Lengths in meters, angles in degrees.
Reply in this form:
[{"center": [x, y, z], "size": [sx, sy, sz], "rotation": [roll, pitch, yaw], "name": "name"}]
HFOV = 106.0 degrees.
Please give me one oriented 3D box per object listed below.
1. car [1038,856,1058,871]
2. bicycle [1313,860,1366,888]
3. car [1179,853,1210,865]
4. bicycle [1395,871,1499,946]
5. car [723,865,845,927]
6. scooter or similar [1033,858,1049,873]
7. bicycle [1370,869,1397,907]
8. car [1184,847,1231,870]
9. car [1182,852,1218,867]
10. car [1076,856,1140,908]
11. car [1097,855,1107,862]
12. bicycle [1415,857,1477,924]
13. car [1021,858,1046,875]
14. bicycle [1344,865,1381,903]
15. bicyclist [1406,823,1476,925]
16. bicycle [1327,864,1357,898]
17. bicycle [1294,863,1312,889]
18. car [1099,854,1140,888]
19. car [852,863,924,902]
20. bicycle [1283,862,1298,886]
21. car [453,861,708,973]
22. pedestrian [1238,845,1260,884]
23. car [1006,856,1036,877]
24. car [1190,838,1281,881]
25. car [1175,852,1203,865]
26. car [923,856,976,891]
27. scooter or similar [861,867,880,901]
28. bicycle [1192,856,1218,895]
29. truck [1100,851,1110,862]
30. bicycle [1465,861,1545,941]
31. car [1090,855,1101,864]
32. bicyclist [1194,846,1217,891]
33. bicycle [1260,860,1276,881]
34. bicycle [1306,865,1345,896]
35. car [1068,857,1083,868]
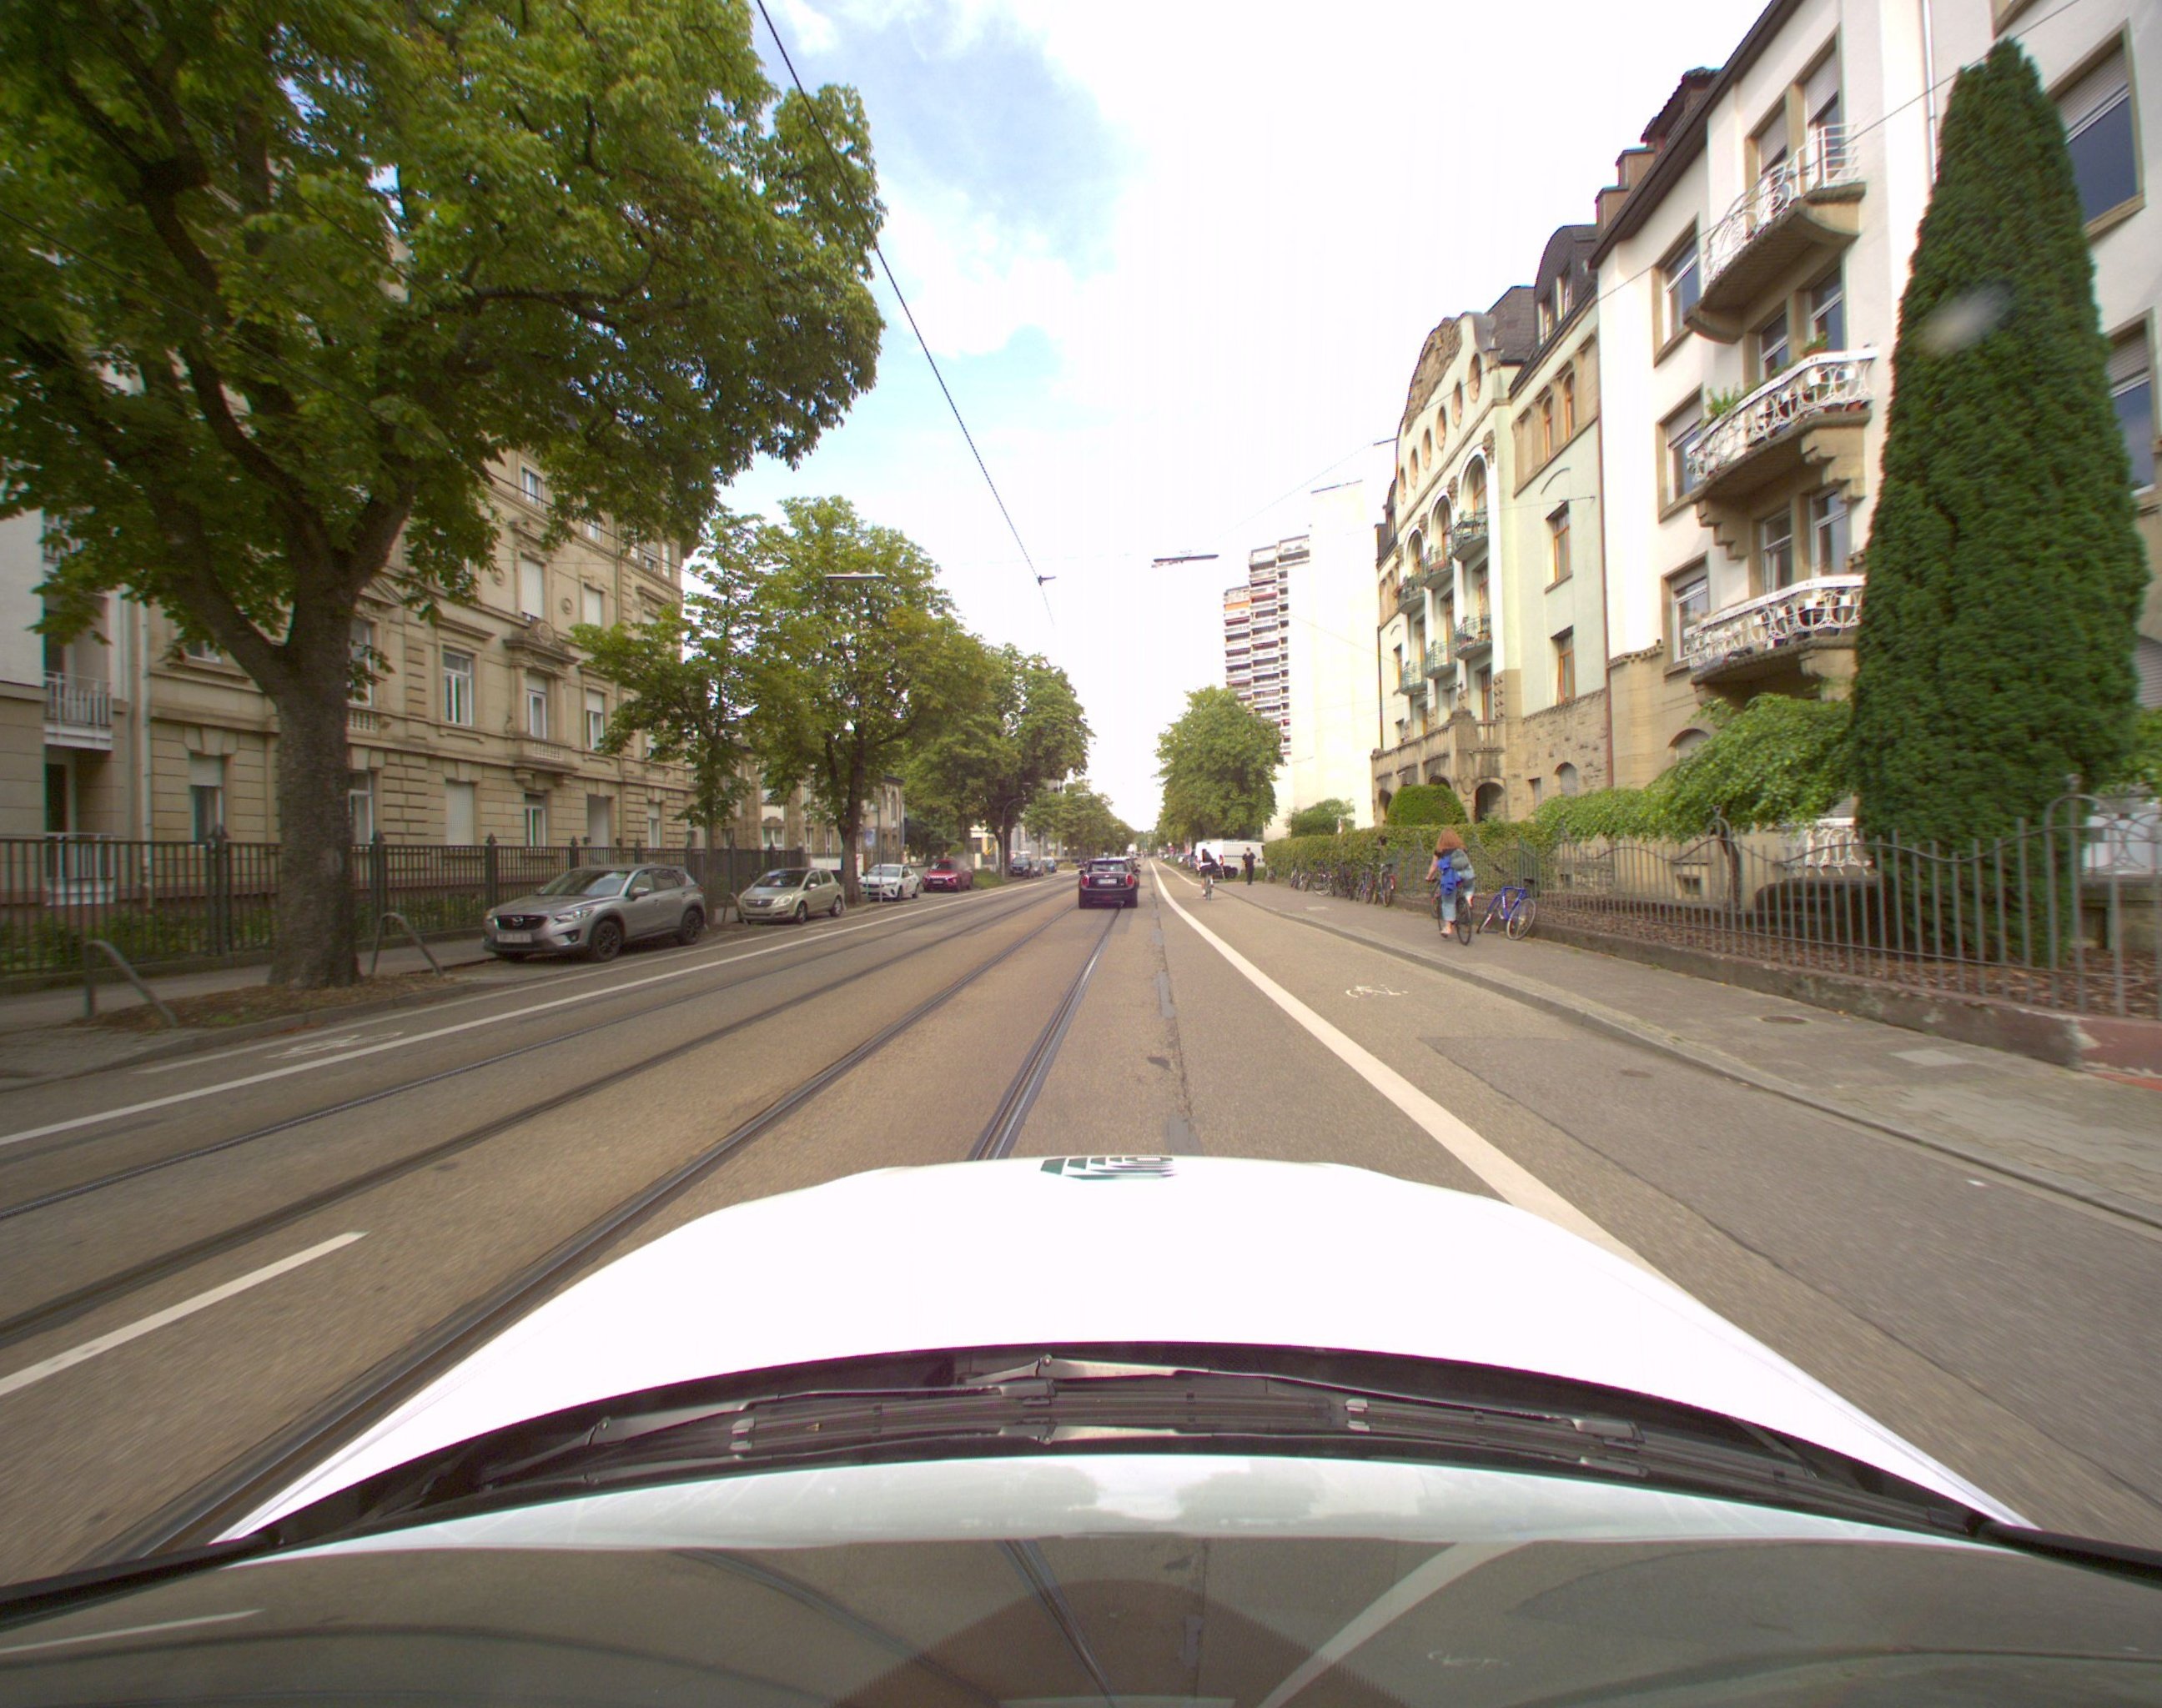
[{"center": [-3.365, 0.985, 83.077], "size": [1.685, 1.487, 3.681], "rotation": [0, 0, 4], "name": "car"}, {"center": [9.021, 0.691, 28.431], "size": [1.653, 0.907, 0.487], "rotation": [-2, -1, 2], "name": "bicycle"}, {"center": [13.935, 0.596, 99.806], "size": [3.550, 1.442, 1.606], "rotation": [-1, 0, -35], "name": "car"}, {"center": [5.554, 0.789, 12.499], "size": [0.686, 0.962, 2.037], "rotation": [-4, 0, 2], "name": "bicycle"}, {"center": [-8.070, 1.088, 22.506], "size": [1.593, 1.468, 4.084], "rotation": [-1, 0, 4], "name": "car"}, {"center": [-3.893, 1.101, 78.896], "size": [1.436, 1.344, 0.701], "rotation": [-3, 0, 6], "name": "scooter or similar"}, {"center": [7.199, 0.792, 19.414], "size": [0.276, 0.852, 1.199], "rotation": [-2, -1, 5], "name": "bicycle"}, {"center": [11.374, 0.390, 73.059], "size": [4.298, 2.015, 1.810], "rotation": [0, -1, -41], "name": "car"}, {"center": [12.639, 0.601, 86.321], "size": [3.759, 1.522, 1.621], "rotation": [0, -1, -41], "name": "car"}, {"center": [0.833, 0.784, 24.683], "size": [1.786, 1.423, 4.002], "rotation": [0, 0, 2], "name": "car"}, {"center": [4.558, 0.946, 177.454], "size": [1.794, 1.583, 4.035], "rotation": [-2, 0, 4], "name": "car"}, {"center": [6.785, 0.643, 15.212], "size": [0.390, 1.142, 1.923], "rotation": [-3, 0, 5], "name": "bicycle"}, {"center": [-4.152, 1.044, 71.251], "size": [1.685, 1.427, 3.872], "rotation": [0, 0, 4], "name": "car"}, {"center": [7.309, 0.761, 21.226], "size": [0.483, 0.907, 1.667], "rotation": [-2, -1, 5], "name": "bicycle"}, {"center": [5.522, 0.296, 12.531], "size": [0.645, 1.470, 0.801], "rotation": [-4, 0, 2], "name": "bicyclist"}, {"center": [7.357, 0.754, 23.014], "size": [0.483, 0.907, 1.668], "rotation": [-2, -1, 8], "name": "bicycle"}, {"center": [7.986, 0.782, 29.337], "size": [0.383, 0.907, 1.669], "rotation": [-2, -1, 9], "name": "bicycle"}, {"center": [1.765, 0.761, 38.332], "size": [1.787, 1.470, 4.001], "rotation": [1, 0, 1], "name": "car"}, {"center": [-7.791, 1.096, 33.220], "size": [1.714, 1.424, 4.027], "rotation": [1, 0, 4], "name": "car"}, {"center": [8.307, 0.774, 32.316], "size": [0.383, 0.907, 1.669], "rotation": [-2, -1, 9], "name": "bicycle"}, {"center": [-8.801, 1.007, 14.863], "size": [1.702, 1.673, 4.362], "rotation": [-1, 0, 4], "name": "car"}, {"center": [7.697, 0.467, 37.418], "size": [0.781, 1.733, 0.897], "rotation": [-4, 0, 4], "name": "pedestrian"}, {"center": [-4.710, 0.951, 64.407], "size": [1.748, 1.647, 4.056], "rotation": [0, 0, 4], "name": "car"}, {"center": [8.778, 0.303, 46.049], "size": [4.983, 2.290, 2.357], "rotation": [0, -1, -39], "name": "car"}, {"center": [14.060, 0.551, 105.840], "size": [3.461, 1.573, 1.543], "rotation": [-1, 0, -35], "name": "car"}, {"center": [-6.703, 0.972, 41.909], "size": [1.714, 1.655, 4.547], "rotation": [1, 0, 4], "name": "car"}, {"center": [-7.836, 1.100, 30.275], "size": [0.562, 1.223, 1.315], "rotation": [-1, 0, -19], "name": "scooter or similar"}, {"center": [4.153, 0.710, 27.337], "size": [0.654, 1.249, 2.127], "rotation": [0, 0, 3], "name": "bicycle"}, {"center": [5.639, 0.494, 190.520], "size": [2.062, 2.470, 4.904], "rotation": [-2, 0, 4], "name": "truck"}, {"center": [6.465, 0.676, 12.509], "size": [0.390, 1.103, 1.761], "rotation": [-3, 0, 5], "name": "bicycle"}, {"center": [2.809, 0.989, 157.069], "size": [1.794, 1.583, 4.035], "rotation": [-2, 0, 4], "name": "car"}, {"center": [4.145, 0.477, 27.228], "size": [0.654, 1.463, 1.179], "rotation": [0, 0, 3], "name": "bicyclist"}, {"center": [8.609, 0.760, 37.583], "size": [0.384, 0.907, 1.843], "rotation": [-2, -1, 3], "name": "bicycle"}, {"center": [7.470, 0.796, 24.925], "size": [0.485, 0.907, 1.661], "rotation": [-2, -1, -7], "name": "bicycle"}, {"center": [-0.753, 1.211, 116.875], "size": [1.794, 1.374, 4.035], "rotation": [-2, 0, 4], "name": "car"}]
